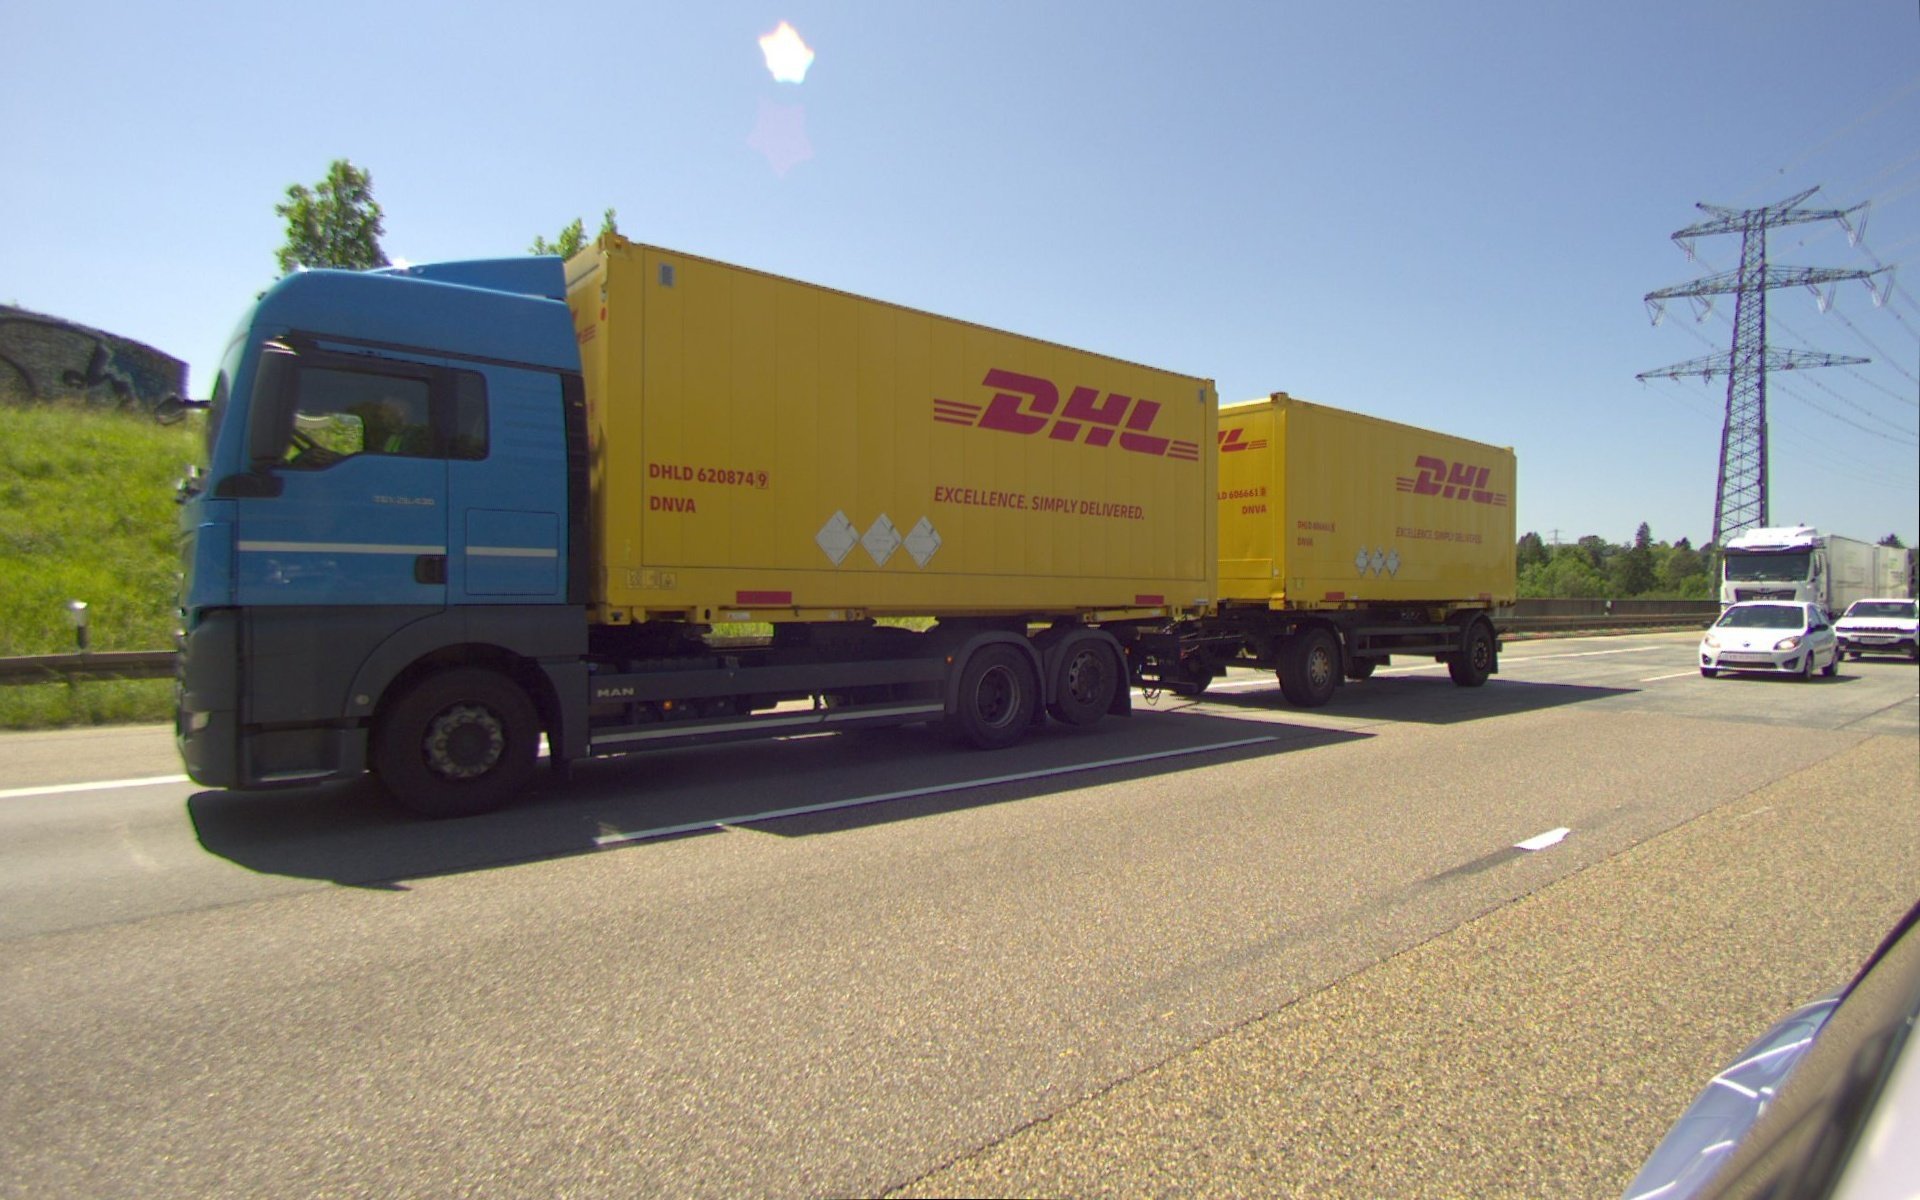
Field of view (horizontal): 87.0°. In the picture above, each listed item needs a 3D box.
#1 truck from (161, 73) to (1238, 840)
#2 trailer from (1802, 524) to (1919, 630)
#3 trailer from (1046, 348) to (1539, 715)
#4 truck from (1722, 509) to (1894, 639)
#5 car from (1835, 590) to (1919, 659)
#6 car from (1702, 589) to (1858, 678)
[{"bbox_3d":[-1.378,-0.755,9.702,9.775,4.162,2.771,1,-1,-40],"label":"truck"},{"bbox_3d":[37.229,-0.878,41.551,7.635,3.991,2.751,0,0,-40],"label":"trailer"},{"bbox_3d":[5.566,-0.750,15.542,9.209,4.170,2.771,1,-1,-40],"label":"trailer"},{"bbox_3d":[30.030,-0.827,35.592,11.096,3.980,2.694,0,0,-40],"label":"truck"},{"bbox_3d":[23.030,0.550,24.796,3.782,1.549,1.775,-1,0,-39],"label":"car"},{"bbox_3d":[15.789,0.570,19.431,3.759,1.529,1.658,-1,0,-41],"label":"car"}]
